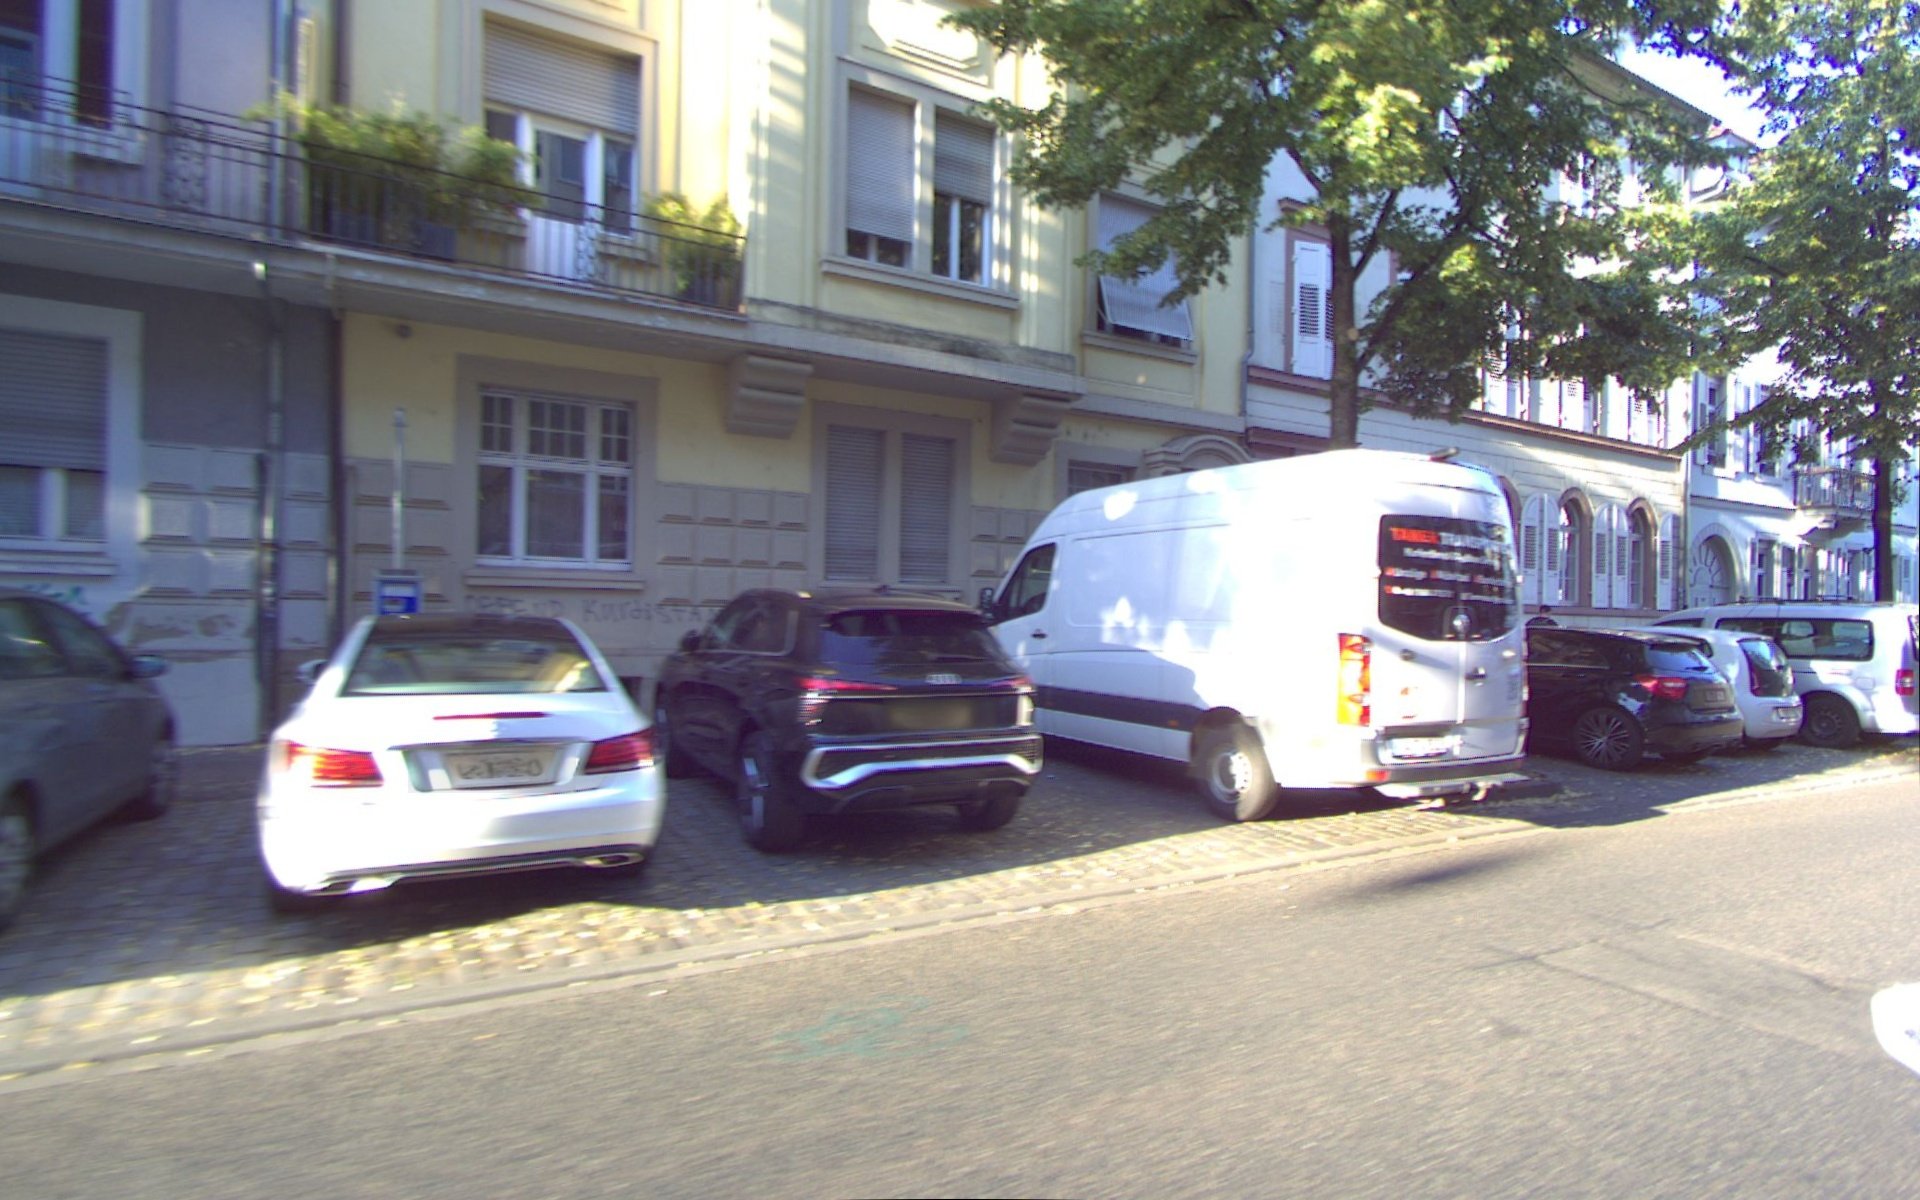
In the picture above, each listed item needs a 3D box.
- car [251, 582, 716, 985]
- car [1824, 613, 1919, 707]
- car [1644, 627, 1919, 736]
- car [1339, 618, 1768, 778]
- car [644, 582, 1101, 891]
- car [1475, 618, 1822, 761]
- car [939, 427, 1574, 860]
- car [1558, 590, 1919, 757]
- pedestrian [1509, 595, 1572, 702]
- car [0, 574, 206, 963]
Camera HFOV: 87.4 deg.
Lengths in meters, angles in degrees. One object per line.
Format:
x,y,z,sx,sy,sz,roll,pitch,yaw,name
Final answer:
-2.947,0.684,6.106,1.771,1.526,4.193,1,1,-29,car
19.847,1.197,19.642,1.784,1.830,4.122,1,-1,-27,car
13.581,1.218,16.044,1.574,1.459,4.135,1,0,-28,car
6.676,1.001,11.743,1.730,1.422,3.967,3,-1,-31,car
-0.980,0.705,7.614,1.951,1.621,4.195,1,1,-28,car
8.865,1.045,13.164,1.695,1.486,3.349,1,1,-33,car
2.089,0.239,9.157,2.145,2.657,5.633,1,1,-29,car
11.264,0.880,14.234,1.894,1.979,4.483,1,0,-27,car
10.230,0.846,17.698,0.770,1.826,0.659,1,-1,-30,pedestrian
-5.311,0.634,5.015,1.822,1.530,3.396,1,1,-26,car
